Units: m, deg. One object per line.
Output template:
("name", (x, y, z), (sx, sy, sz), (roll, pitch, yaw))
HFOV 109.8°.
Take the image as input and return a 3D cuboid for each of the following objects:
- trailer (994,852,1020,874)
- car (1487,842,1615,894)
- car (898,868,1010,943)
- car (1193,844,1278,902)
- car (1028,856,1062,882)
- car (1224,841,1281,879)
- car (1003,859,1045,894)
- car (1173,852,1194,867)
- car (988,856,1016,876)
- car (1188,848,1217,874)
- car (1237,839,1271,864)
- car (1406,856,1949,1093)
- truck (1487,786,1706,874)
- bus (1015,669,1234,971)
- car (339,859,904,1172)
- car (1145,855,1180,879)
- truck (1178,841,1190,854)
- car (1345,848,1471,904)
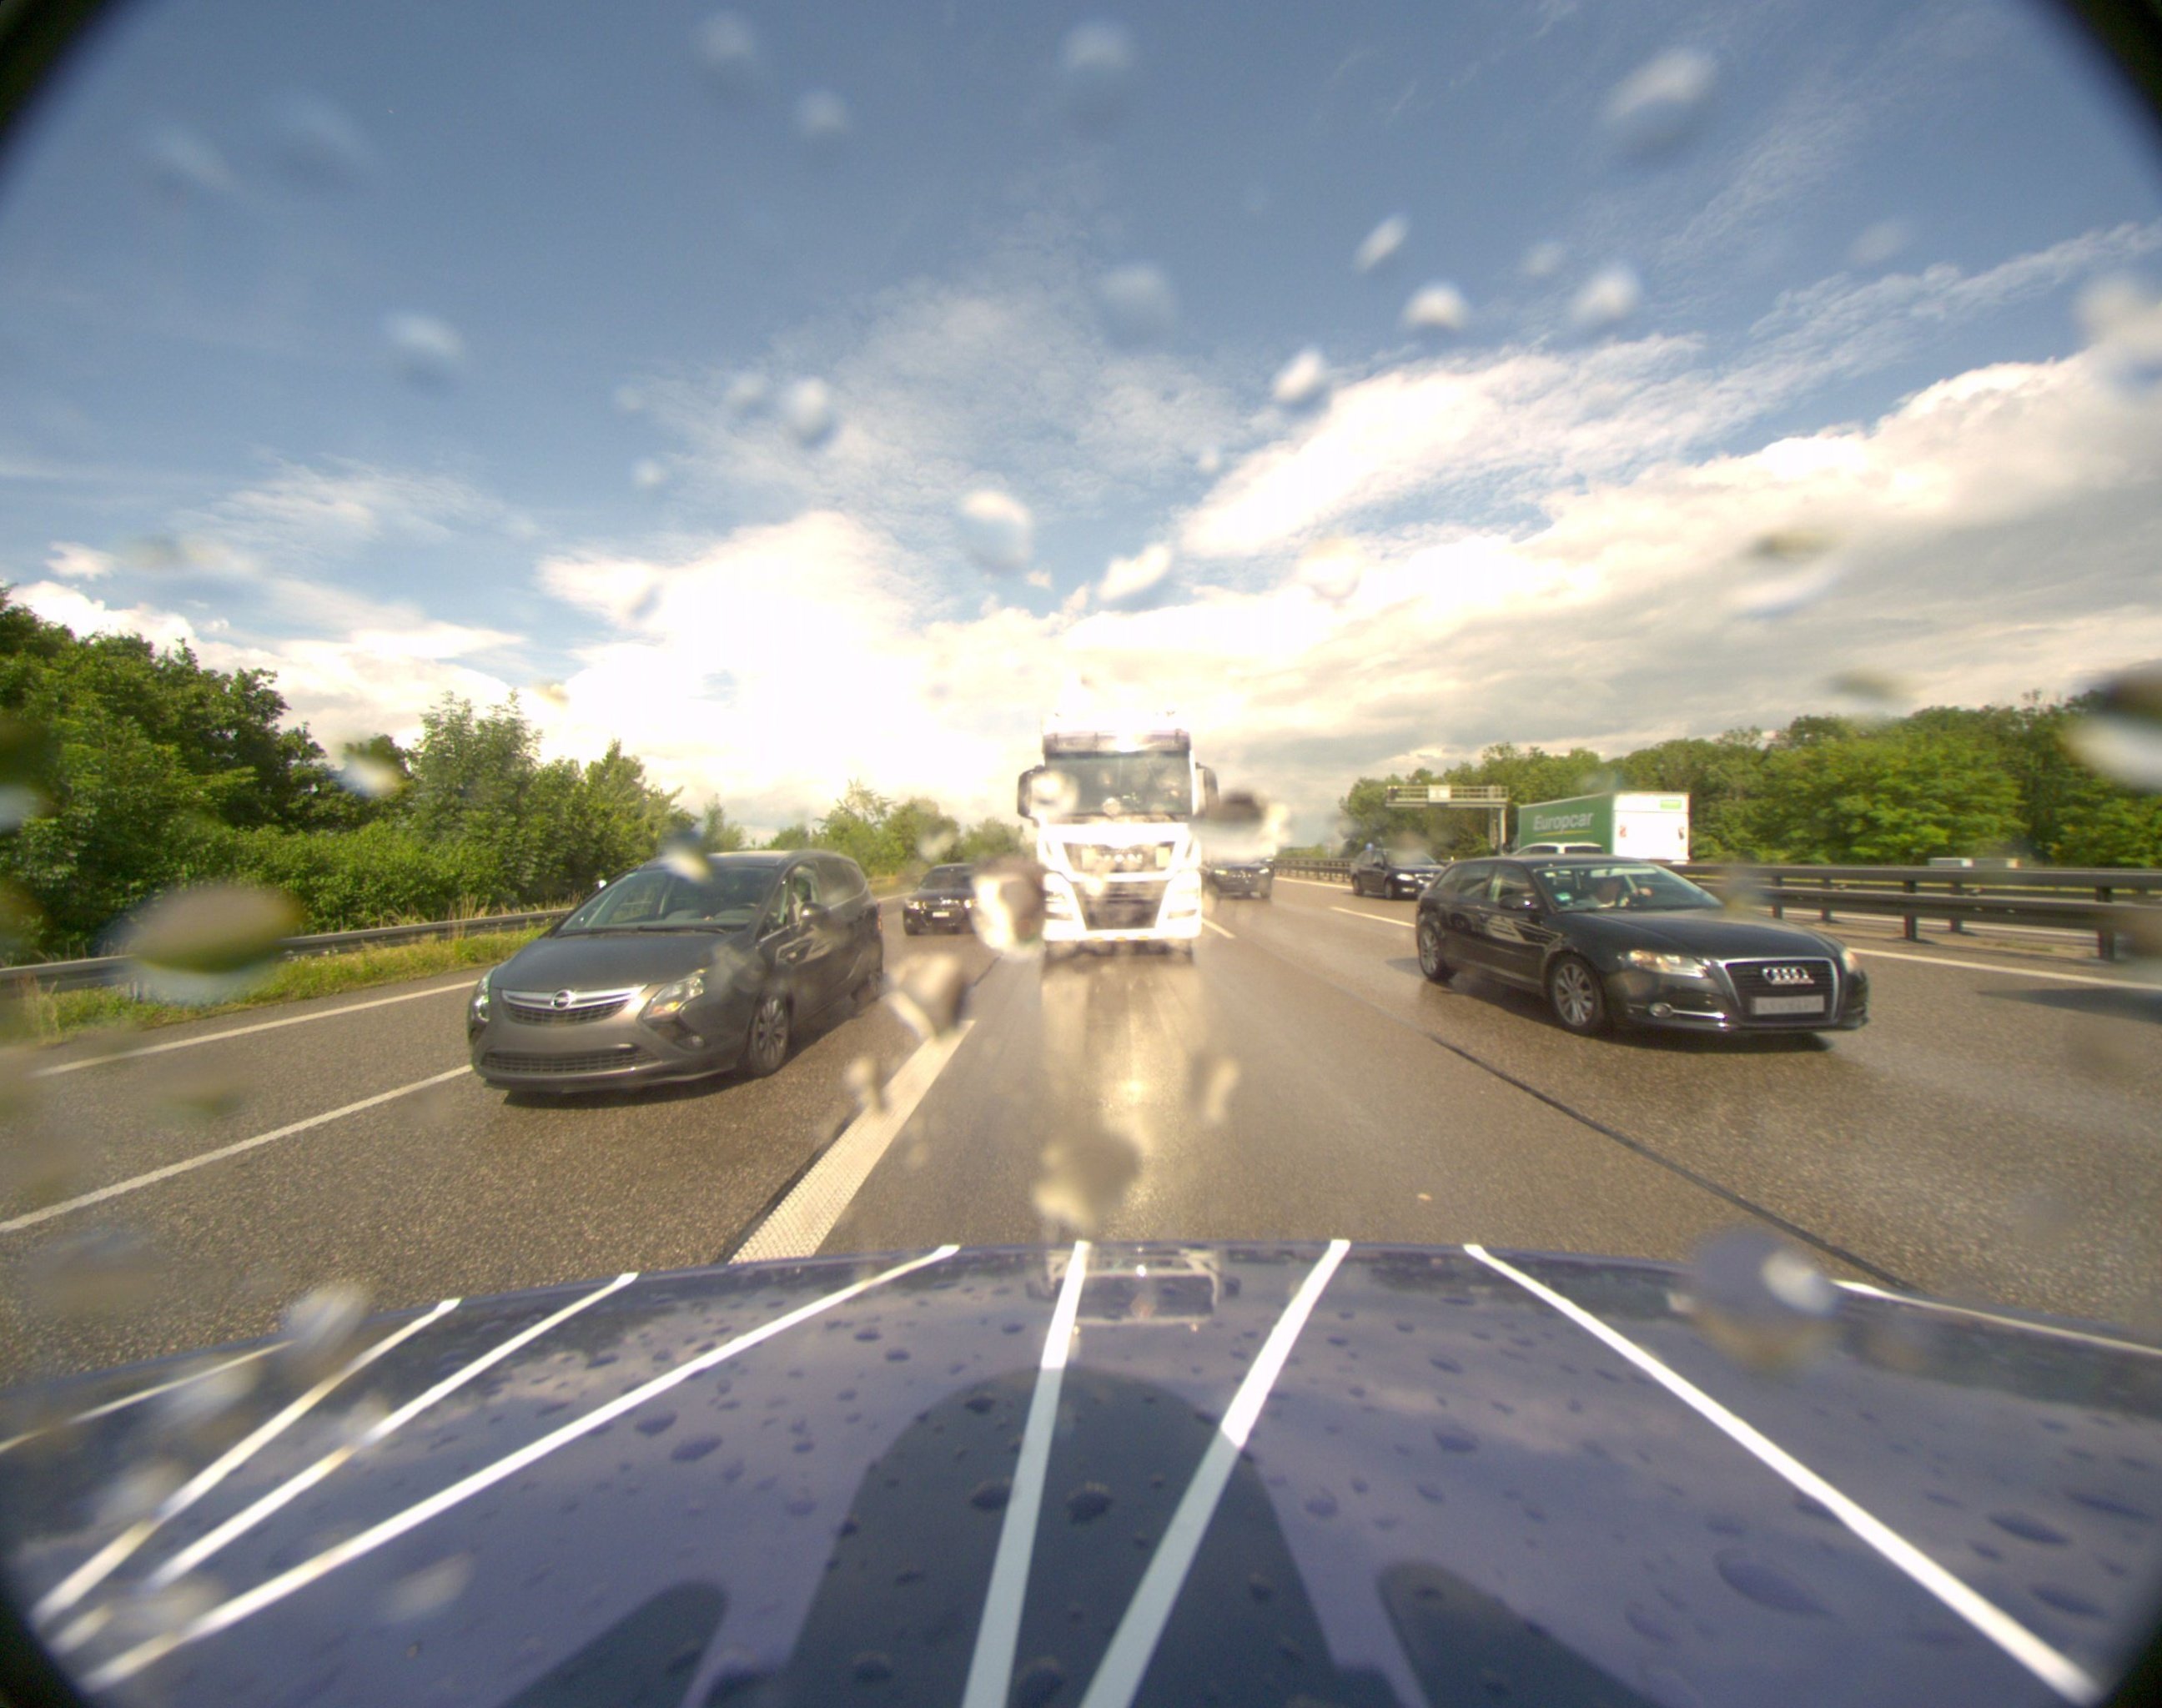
("trailer", (-6.321, 0.736, 65.559), (1.810, 1.736, 3.967), (-3, 0, 0))
("car", (16.376, 0.436, 26.747), (1.770, 1.633, 4.246), (-2, 0, -2))
("car", (-2.667, 1.043, 16.833), (1.722, 1.346, 3.884), (-2, 0, 1))
("car", (4.982, 0.561, 25.124), (1.881, 1.669, 4.626), (-2, 0, 0))
("car", (-2.163, 0.881, 46.776), (1.858, 1.434, 3.999), (-2, 0, 0))
("car", (9.489, 0.294, 42.563), (1.998, 1.906, 5.235), (-2, 0, 0))
("car", (-2.493, 0.960, 33.819), (1.744, 1.357, 3.999), (-2, 0, -3))
("car", (10.330, 0.524, 76.979), (1.618, 1.412, 4.000), (-2, 0, 1))
("car", (-6.357, 0.934, 61.351), (1.747, 1.422, 4.404), (-2, 0, 0))
("car", (7.676, 0.431, 48.228), (1.409, 1.588, 2.830), (-2, 0, 1))
("car", (17.840, -0.253, 78.644), (2.119, 2.382, 6.102), (-2, 0, 1))
("car", (4.631, 0.773, 6.825), (1.754, 1.425, 4.054), (-2, 0, 2))
("truck", (20.216, -0.878, 30.703), (2.923, 2.970, 8.721), (-2, 1, 0))
("bus", (0.680, -0.481, 15.484), (2.904, 4.104, 9.845), (-2, 0, 1))
("car", (-3.083, 0.912, 6.550), (1.858, 1.622, 4.736), (-2, 0, 1))
("car", (5.075, 0.789, 47.496), (1.809, 1.389, 4.240), (-1, 0, 1))
("truck", (32.482, -2.002, 239.991), (2.799, 3.861, 8.919), (-2, 0, 3))
("car", (9.337, 0.570, 22.111), (1.924, 1.416, 4.373), (-2, 0, 3))
